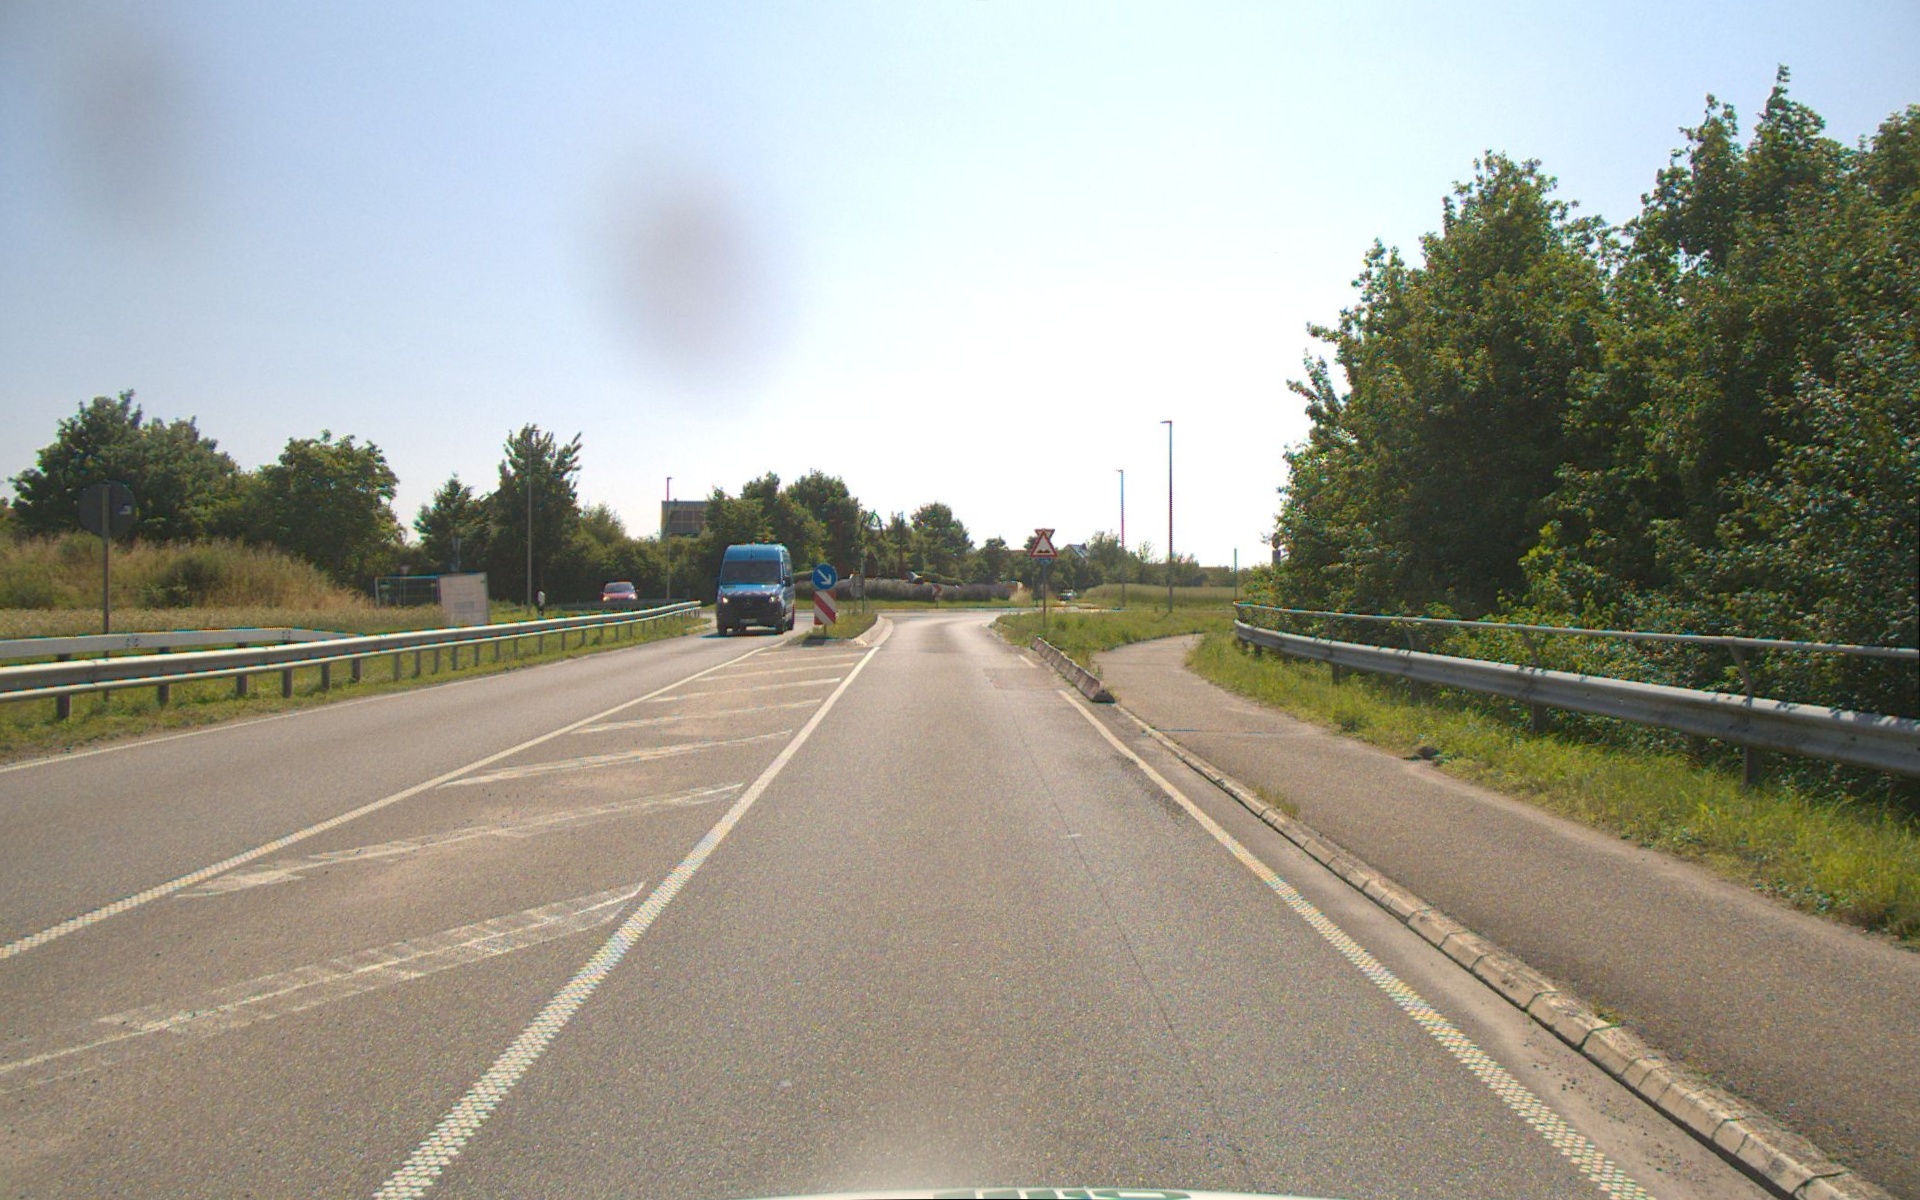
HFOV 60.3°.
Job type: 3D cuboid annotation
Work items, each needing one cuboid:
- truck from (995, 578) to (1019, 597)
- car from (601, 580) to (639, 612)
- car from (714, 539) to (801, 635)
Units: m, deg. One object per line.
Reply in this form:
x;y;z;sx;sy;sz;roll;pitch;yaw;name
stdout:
5.367;-1.435;188.760;1.951;2.049;4.003;0;0;14;truck
-16.738;-0.192;81.266;1.600;1.517;3.788;-1;0;-15;car
-6.083;-0.407;50.433;1.953;2.656;7.287;-2;1;-2;car
